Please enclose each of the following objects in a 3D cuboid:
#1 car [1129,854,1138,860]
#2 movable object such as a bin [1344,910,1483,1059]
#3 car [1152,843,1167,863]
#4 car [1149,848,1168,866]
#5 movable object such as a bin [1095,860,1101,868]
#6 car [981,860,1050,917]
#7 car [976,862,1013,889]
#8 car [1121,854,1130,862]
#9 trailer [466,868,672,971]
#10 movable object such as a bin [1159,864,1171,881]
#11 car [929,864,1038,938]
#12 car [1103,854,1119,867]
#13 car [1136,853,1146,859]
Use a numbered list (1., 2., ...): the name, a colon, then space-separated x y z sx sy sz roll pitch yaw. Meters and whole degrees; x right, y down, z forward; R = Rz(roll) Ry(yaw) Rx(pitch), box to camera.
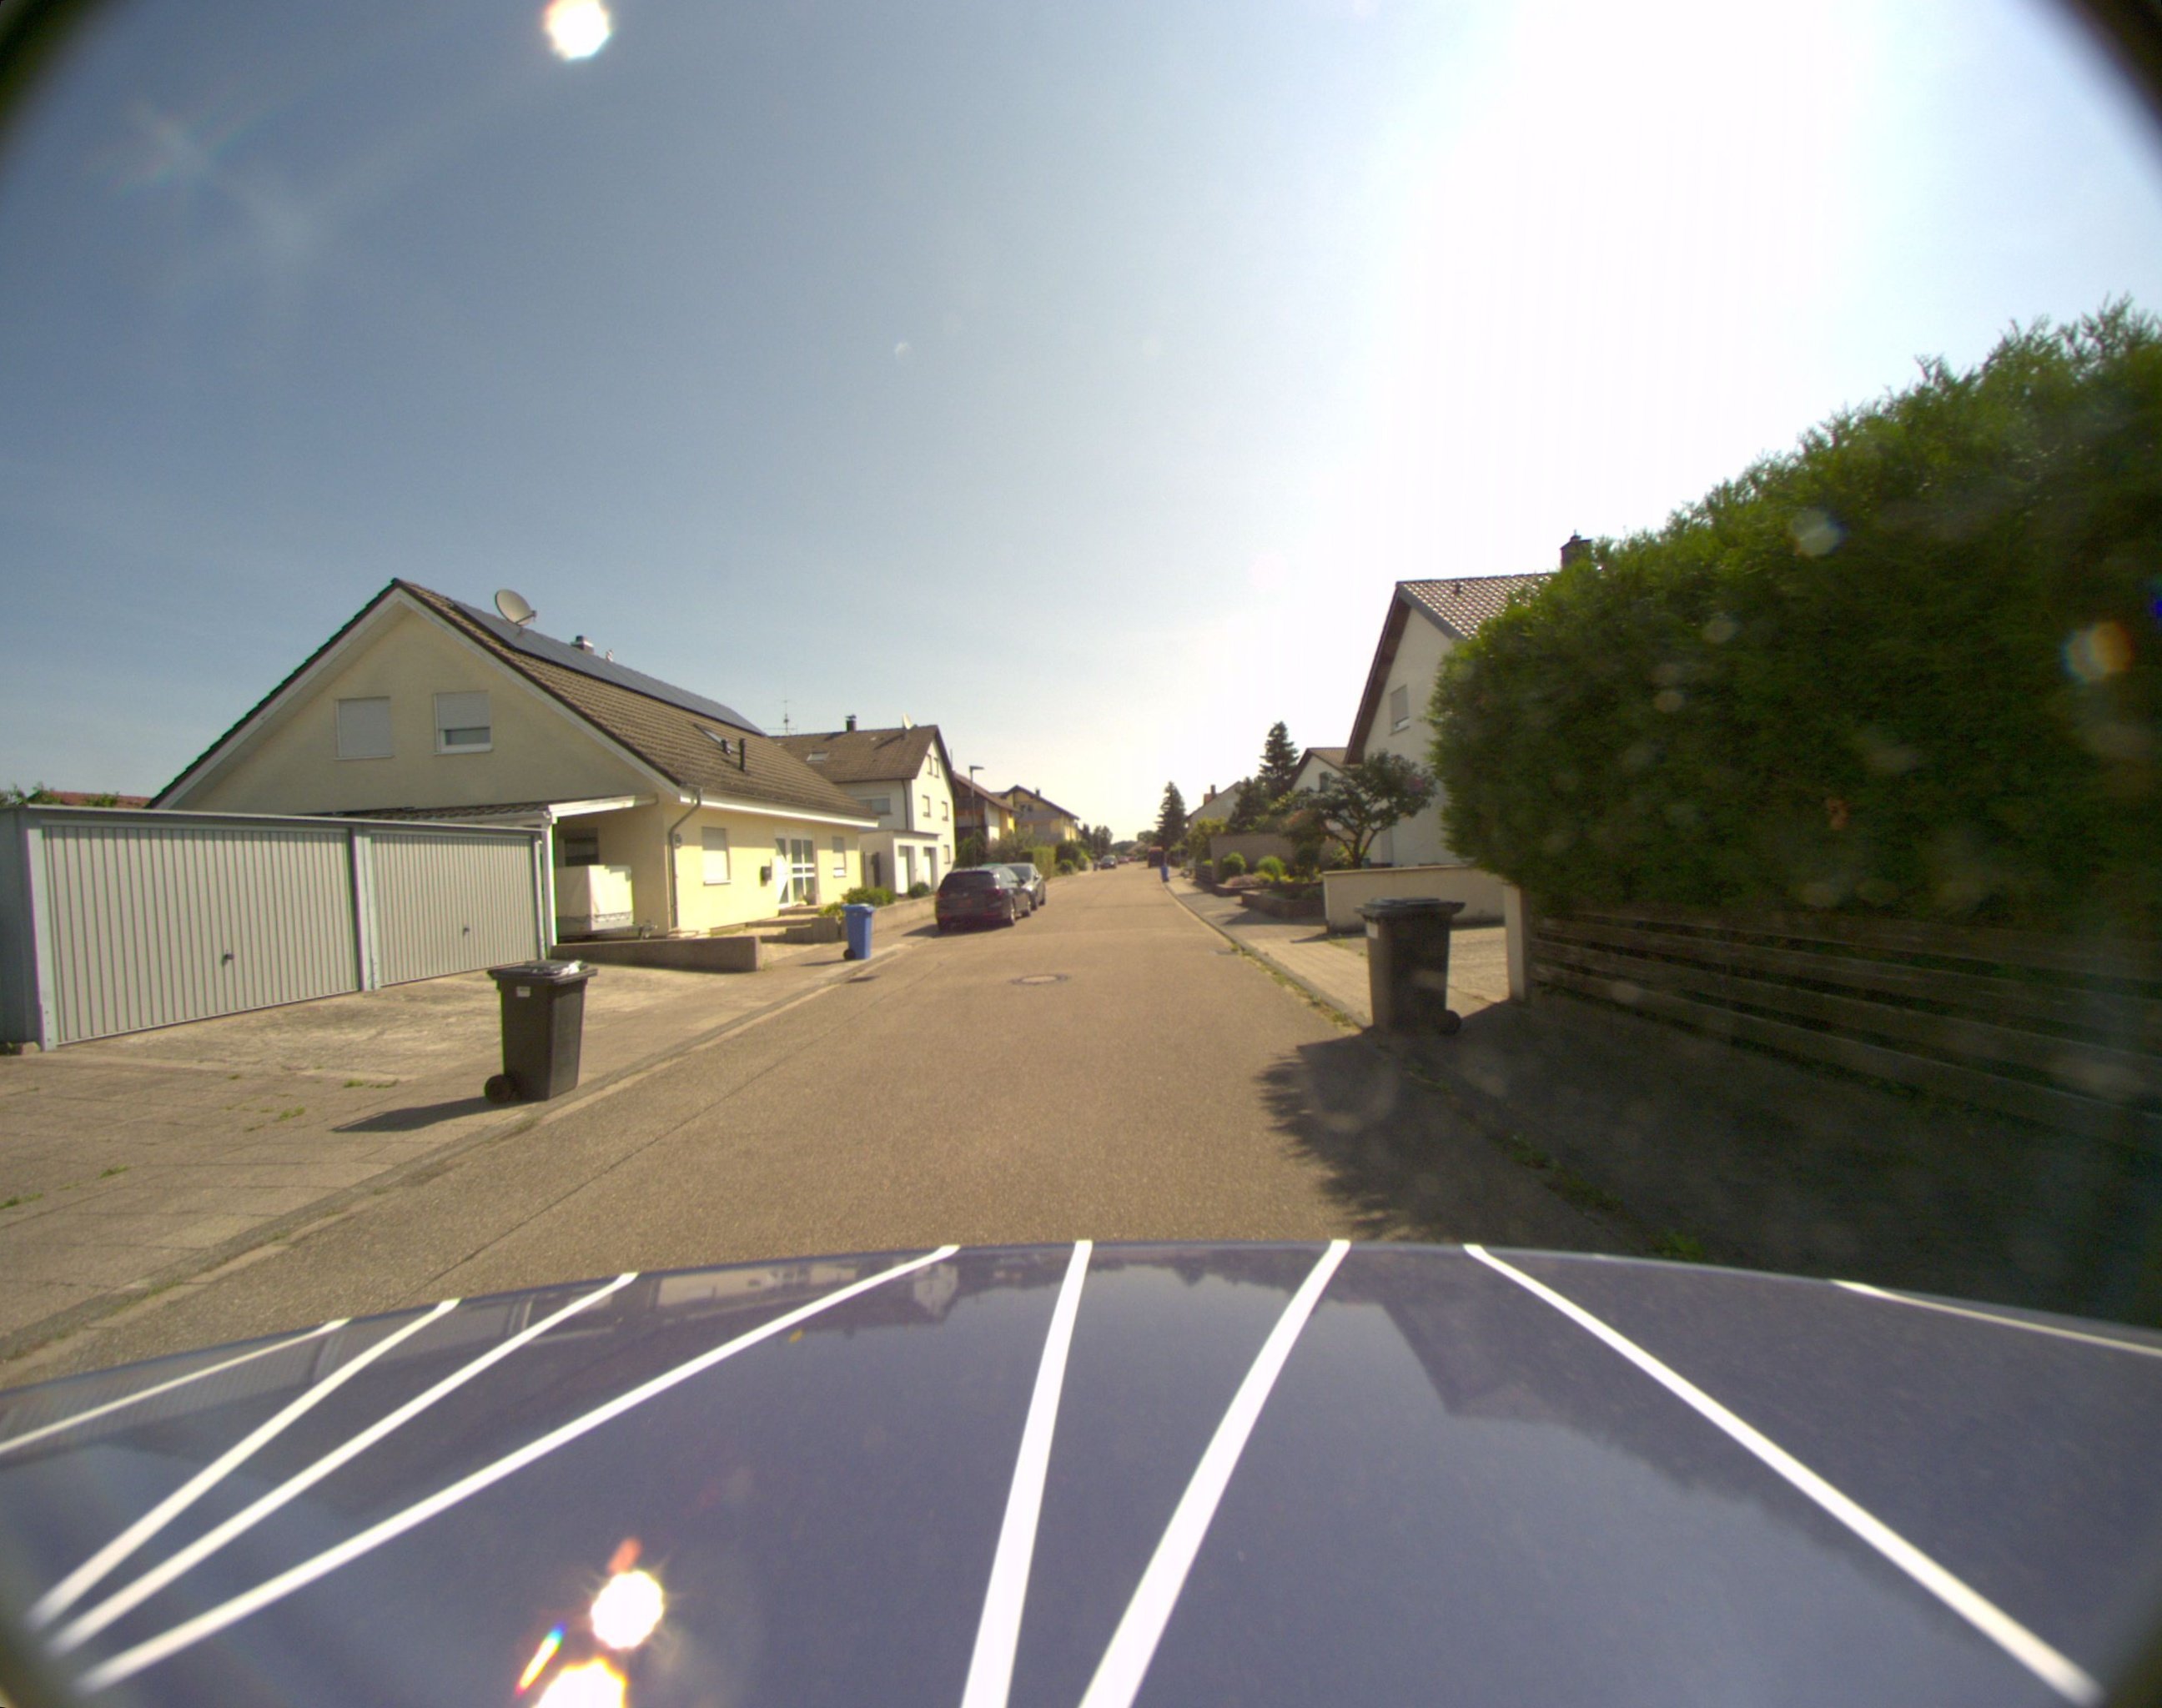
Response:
1. car: 13.876 0.847 200.784 1.709 1.332 4.000 -3 -2 -3
2. movable object such as a bin: 2.623 1.015 6.059 0.820 1.057 0.611 -2 0 2
3. car: 9.692 -0.081 94.301 1.555 2.310 4.205 -3 0 4
4. car: 8.649 0.317 85.048 1.869 1.927 4.205 -3 0 4
5. movable object such as a bin: 1.875 1.124 85.868 0.584 0.911 0.598 -4 0 4
6. car: -2.071 1.060 25.004 1.646 1.470 4.000 -4 1 2
7. car: -4.854 1.172 43.062 1.498 1.351 3.527 -3 0 2
8. car: 8.074 0.723 137.376 1.517 1.397 3.678 -4 -1 2
9. trailer: -9.442 1.180 14.149 2.840 1.680 1.403 -3 0 4
10. movable object such as a bin: 4.615 1.007 41.864 0.584 0.911 0.598 -4 0 4
11. car: -2.316 1.091 19.326 1.721 1.430 4.504 -6 0 5
12. car: 3.720 0.804 95.054 1.631 1.616 4.002 -3 -1 6
13. car: 14.841 0.588 188.237 1.709 1.332 4.000 -3 -2 -3
